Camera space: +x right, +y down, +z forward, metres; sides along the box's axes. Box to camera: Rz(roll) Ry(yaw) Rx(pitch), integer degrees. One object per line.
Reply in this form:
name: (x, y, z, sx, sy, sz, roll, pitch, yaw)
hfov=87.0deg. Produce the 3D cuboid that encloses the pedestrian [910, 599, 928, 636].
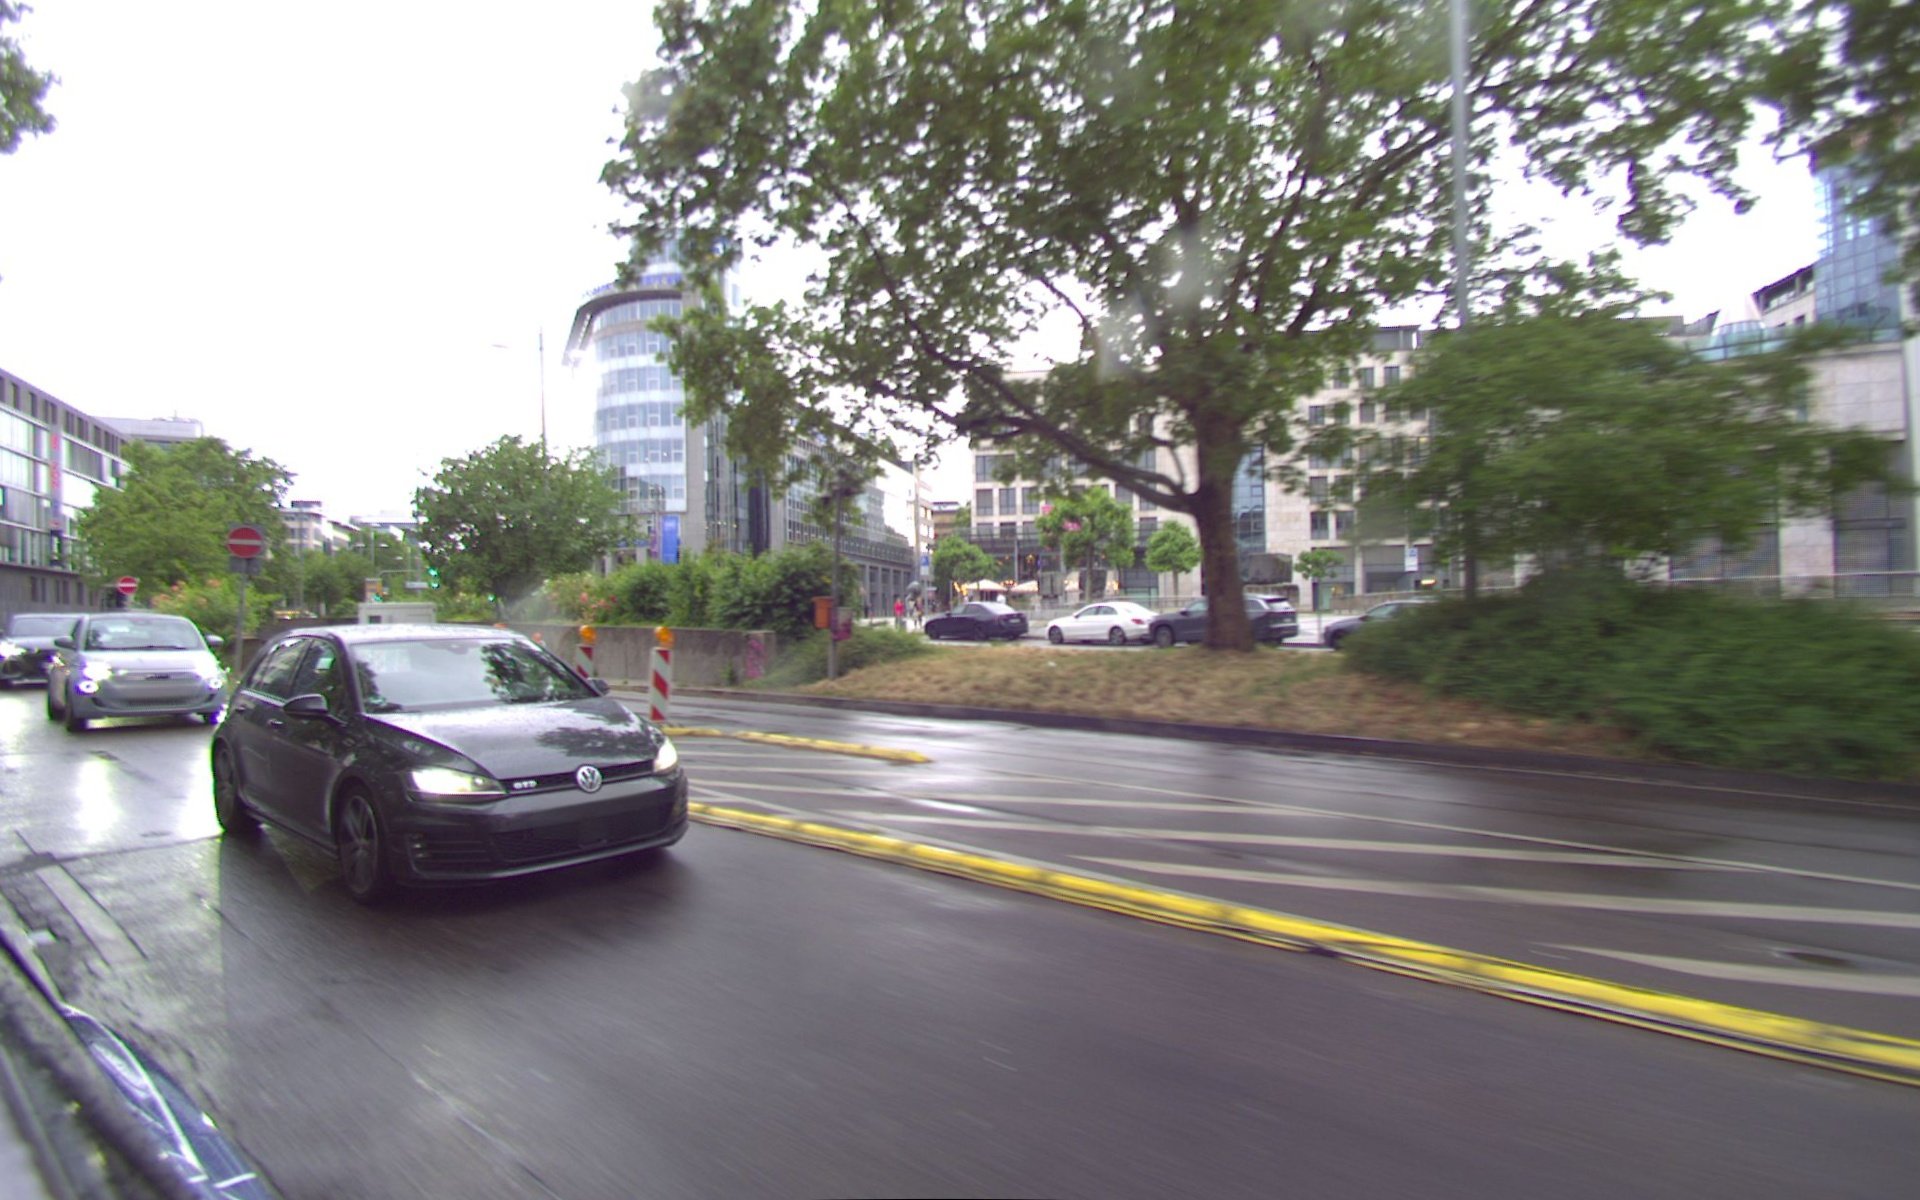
pedestrian: (-2.054, 0.860, 50.257, 0.737, 1.802, 0.474, -2, 1, -18)

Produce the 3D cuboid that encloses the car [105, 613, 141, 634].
car: (-72.789, 2.034, 88.044, 1.966, 1.757, 3.921, -1, 0, -32)

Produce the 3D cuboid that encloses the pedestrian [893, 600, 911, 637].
pedestrian: (-2.874, 0.899, 50.105, 0.737, 1.802, 0.424, -2, 1, -18)

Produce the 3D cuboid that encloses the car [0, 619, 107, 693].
car: (-19.557, 1.148, 21.652, 3.496, 1.452, 1.693, -1, -2, 45)

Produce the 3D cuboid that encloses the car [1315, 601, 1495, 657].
car: (11.887, 0.725, 27.221, 1.819, 1.392, 4.048, 0, 0, -41)

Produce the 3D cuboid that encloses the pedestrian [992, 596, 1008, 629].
pedestrian: (2.021, 0.597, 50.666, 0.570, 1.639, 0.563, 0, 0, -43)

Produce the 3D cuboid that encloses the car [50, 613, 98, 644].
car: (-54.259, 1.735, 62.035, 1.968, 1.757, 3.917, -1, 0, -38)

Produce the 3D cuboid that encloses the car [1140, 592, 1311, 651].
car: (7.997, 0.615, 30.820, 1.970, 1.664, 4.731, 0, 0, -43)

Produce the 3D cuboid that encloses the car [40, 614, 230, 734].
car: (-11.491, 0.937, 14.027, 3.494, 1.452, 1.590, -1, -2, 43)

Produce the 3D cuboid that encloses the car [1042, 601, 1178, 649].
car: (5.135, 0.807, 35.153, 1.982, 1.545, 4.441, 0, 0, -42)

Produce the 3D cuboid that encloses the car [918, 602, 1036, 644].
car: (0.604, 0.854, 40.097, 1.982, 1.545, 4.716, 0, 0, -42)

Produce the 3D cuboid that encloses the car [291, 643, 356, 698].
car: (-22.339, 2.400, 35.445, 1.753, 1.608, 4.010, -1, 0, -35)

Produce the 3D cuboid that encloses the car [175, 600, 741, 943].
car: (-3.382, 0.778, 6.434, 4.121, 1.463, 1.766, -1, 0, 41)

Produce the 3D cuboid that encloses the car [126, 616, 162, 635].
car: (-77.896, 2.438, 96.635, 1.966, 1.757, 3.922, -1, 0, -28)
